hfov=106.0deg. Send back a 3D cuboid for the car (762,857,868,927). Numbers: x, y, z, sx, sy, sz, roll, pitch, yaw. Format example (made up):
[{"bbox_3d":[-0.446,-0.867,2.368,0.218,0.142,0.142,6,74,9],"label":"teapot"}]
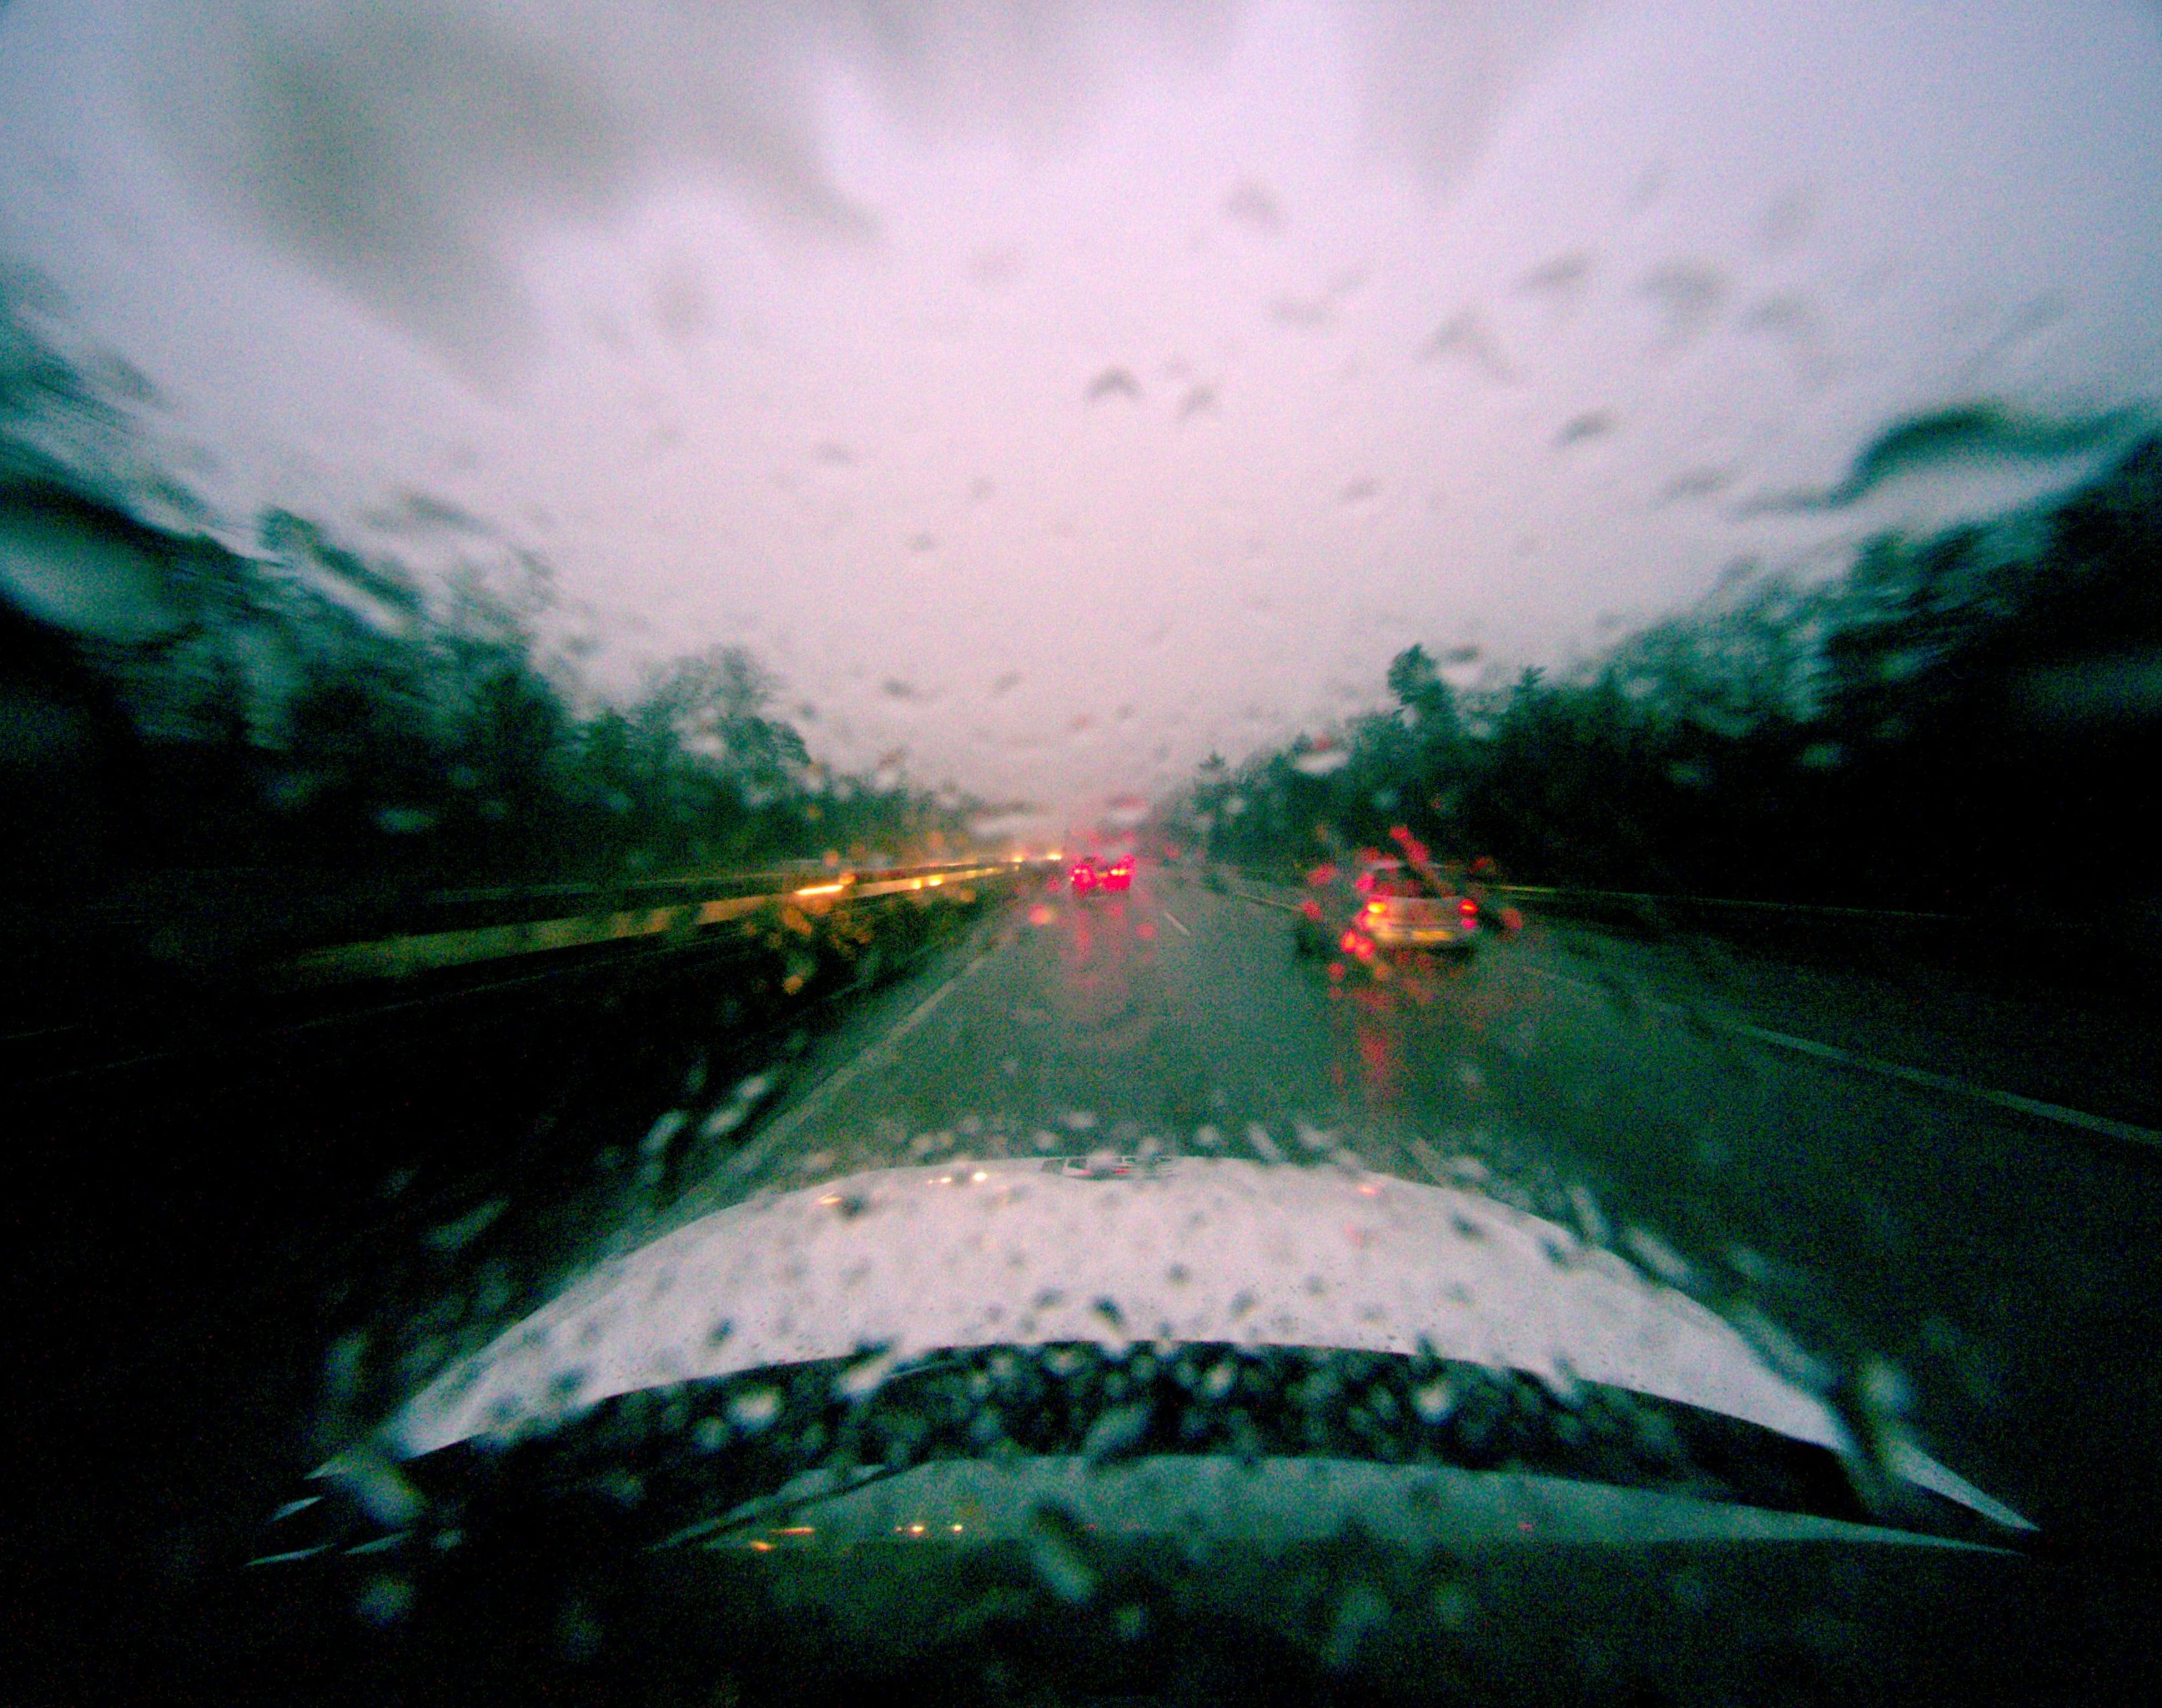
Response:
[{"bbox_3d":[-6.888,0.932,21.440,1.461,1.656,3.640,-1,0,2],"label":"car"}]

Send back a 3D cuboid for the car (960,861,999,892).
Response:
[{"bbox_3d":[-6.634,1.463,53.647,1.817,1.904,4.001,2,-1,2],"label":"car"}]

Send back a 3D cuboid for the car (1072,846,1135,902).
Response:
[{"bbox_3d":[0.729,0.643,27.932,1.980,1.767,4.173,-1,0,0],"label":"car"}]

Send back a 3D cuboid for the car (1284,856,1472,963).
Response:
[{"bbox_3d":[4.482,0.760,12.839,1.773,1.437,3.539,-1,0,2],"label":"car"}]

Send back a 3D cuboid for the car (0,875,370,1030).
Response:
[{"bbox_3d":[-10.907,0.979,9.567,1.733,1.418,3.704,2,-1,1],"label":"car"}]

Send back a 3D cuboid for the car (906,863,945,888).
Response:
[{"bbox_3d":[-10.903,1.516,57.428,1.817,1.671,4.001,2,-1,2],"label":"car"}]
